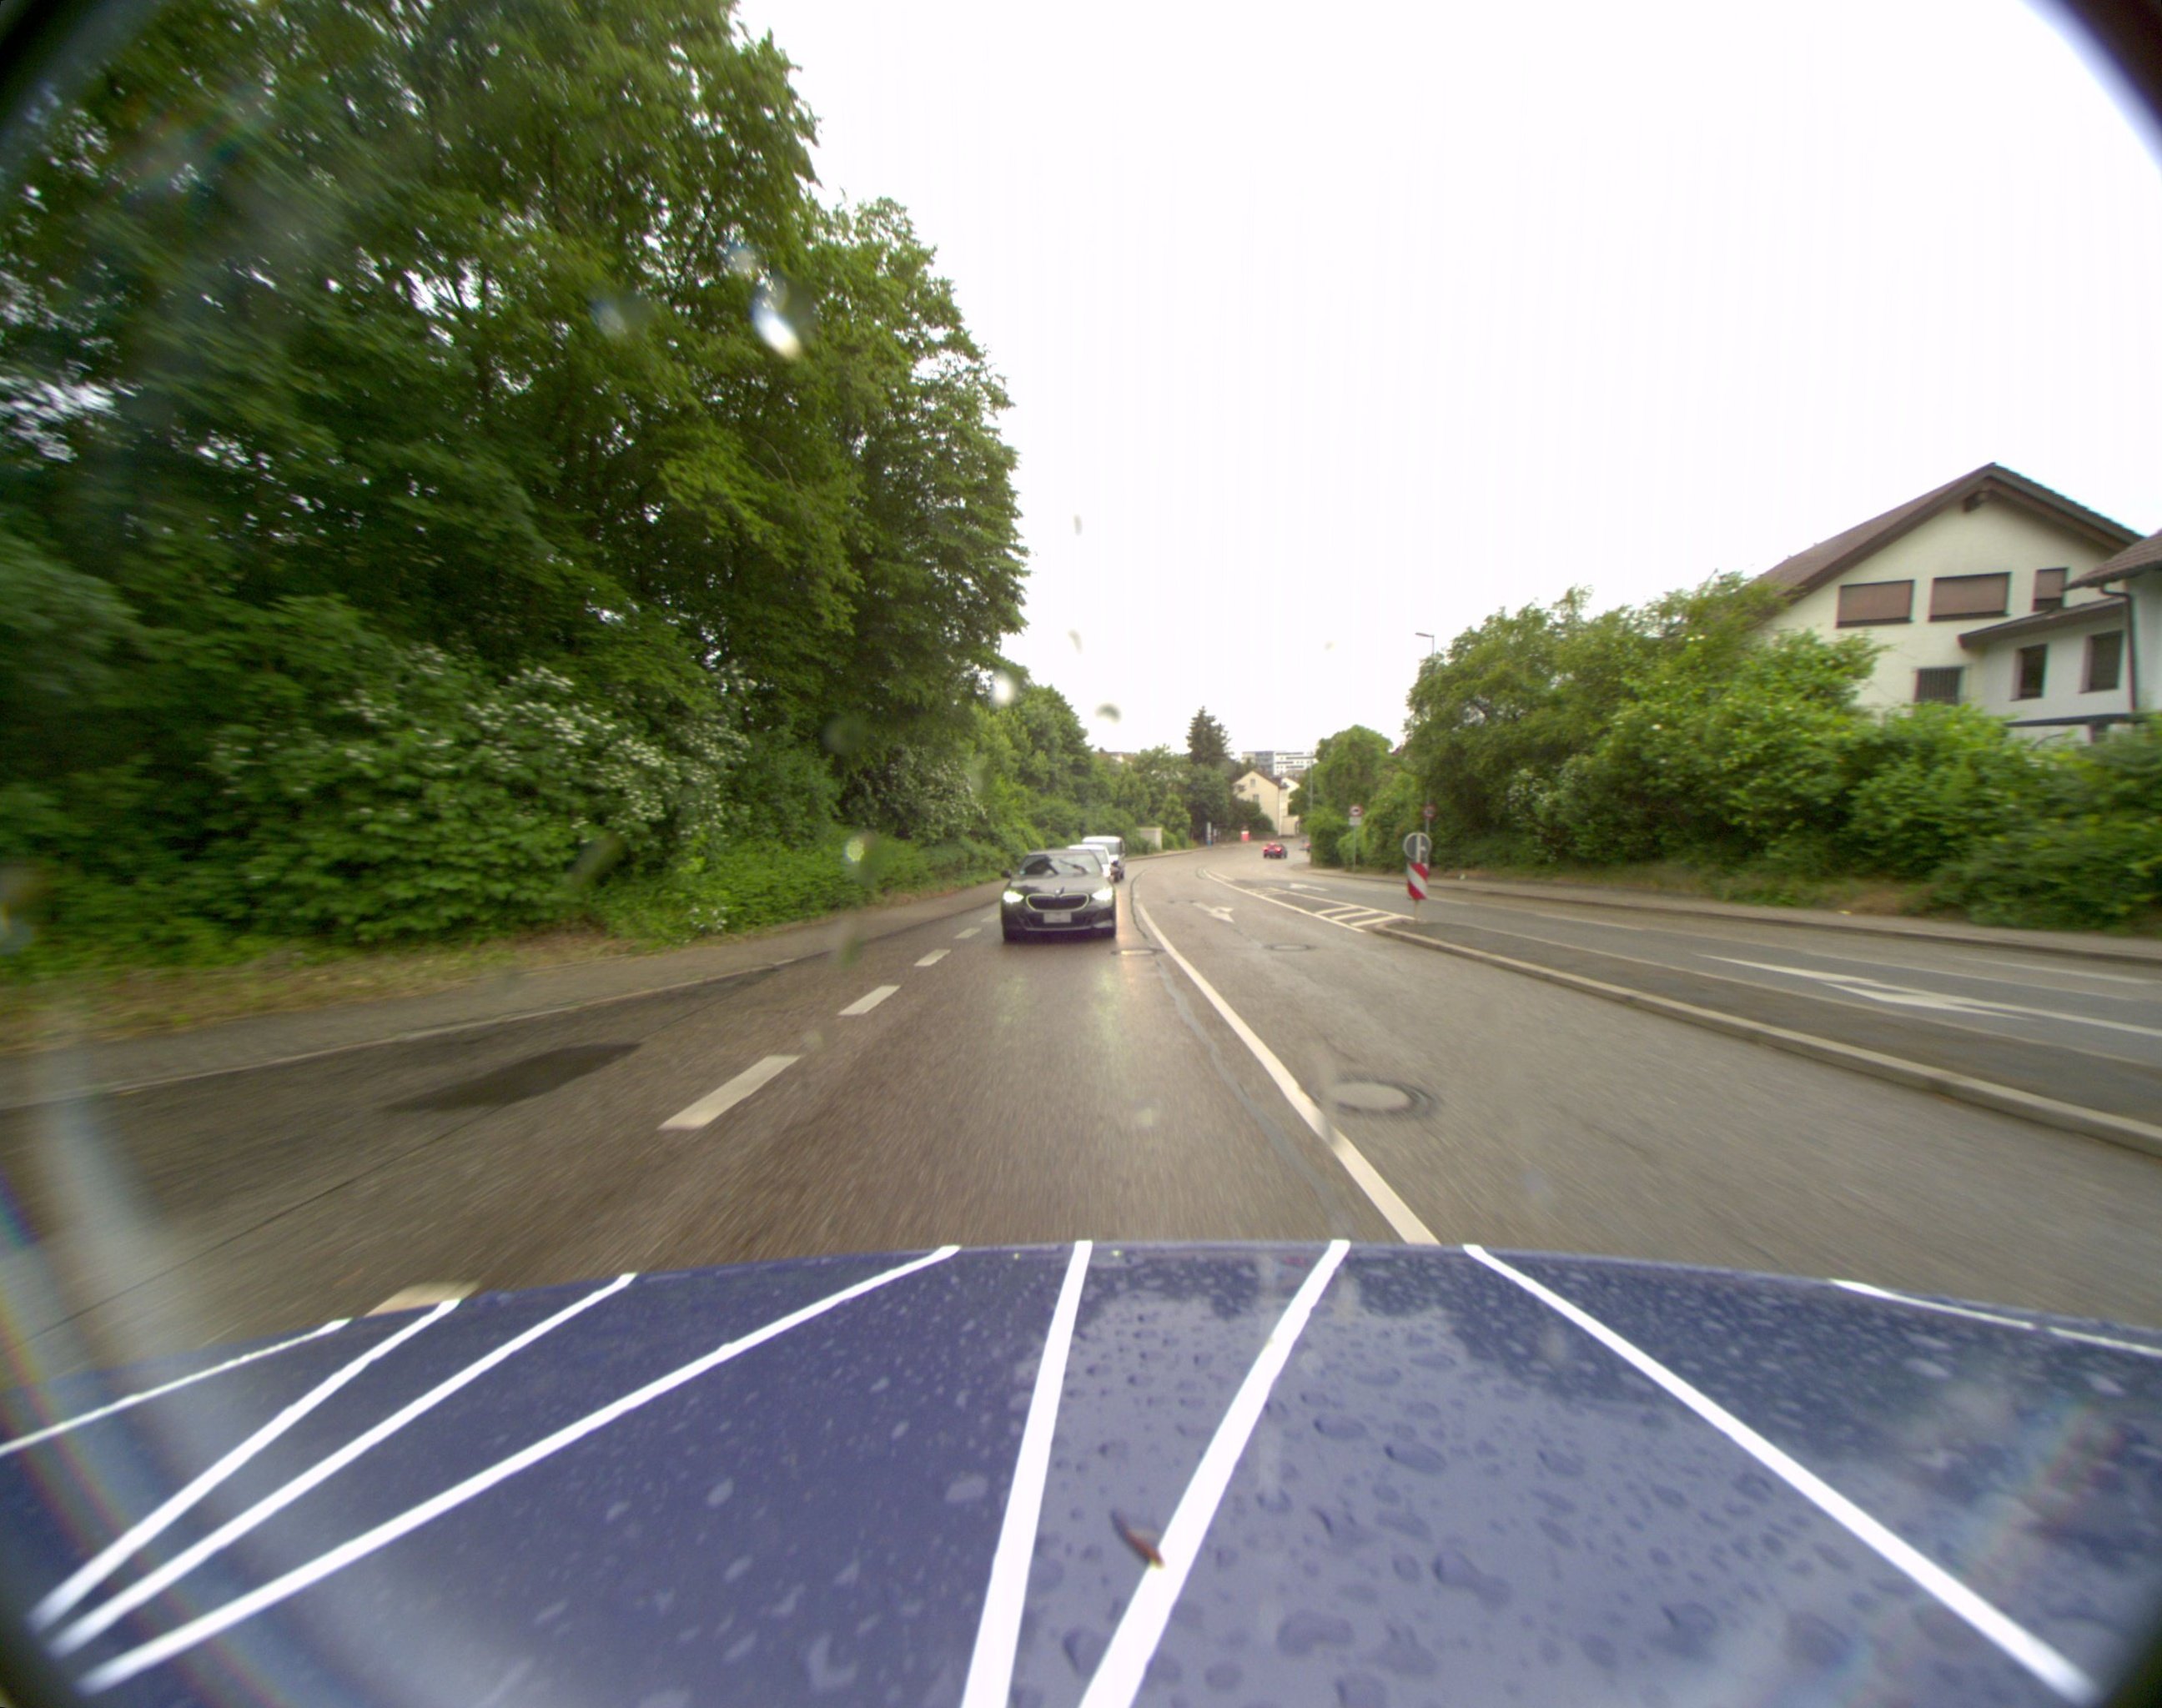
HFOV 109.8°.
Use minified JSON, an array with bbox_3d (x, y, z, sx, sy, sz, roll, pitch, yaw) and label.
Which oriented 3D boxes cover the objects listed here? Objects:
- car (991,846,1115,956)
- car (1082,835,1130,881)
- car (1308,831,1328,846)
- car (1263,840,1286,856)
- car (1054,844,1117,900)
[{"bbox_3d":[-0.388,0.700,13.641,1.867,1.547,4.118,0,2,1],"label":"car"},{"bbox_3d":[1.112,0.101,31.900,1.814,1.798,4.120,0,2,5],"label":"car"},{"bbox_3d":[32.675,-2.103,104.678,2.128,2.002,4.092,0,1,23],"label":"car"},{"bbox_3d":[22.586,-0.701,88.482,1.957,1.835,4.006,2,1,22],"label":"car"},{"bbox_3d":[0.176,0.486,23.947,1.814,1.547,4.118,0,2,1],"label":"car"}]
